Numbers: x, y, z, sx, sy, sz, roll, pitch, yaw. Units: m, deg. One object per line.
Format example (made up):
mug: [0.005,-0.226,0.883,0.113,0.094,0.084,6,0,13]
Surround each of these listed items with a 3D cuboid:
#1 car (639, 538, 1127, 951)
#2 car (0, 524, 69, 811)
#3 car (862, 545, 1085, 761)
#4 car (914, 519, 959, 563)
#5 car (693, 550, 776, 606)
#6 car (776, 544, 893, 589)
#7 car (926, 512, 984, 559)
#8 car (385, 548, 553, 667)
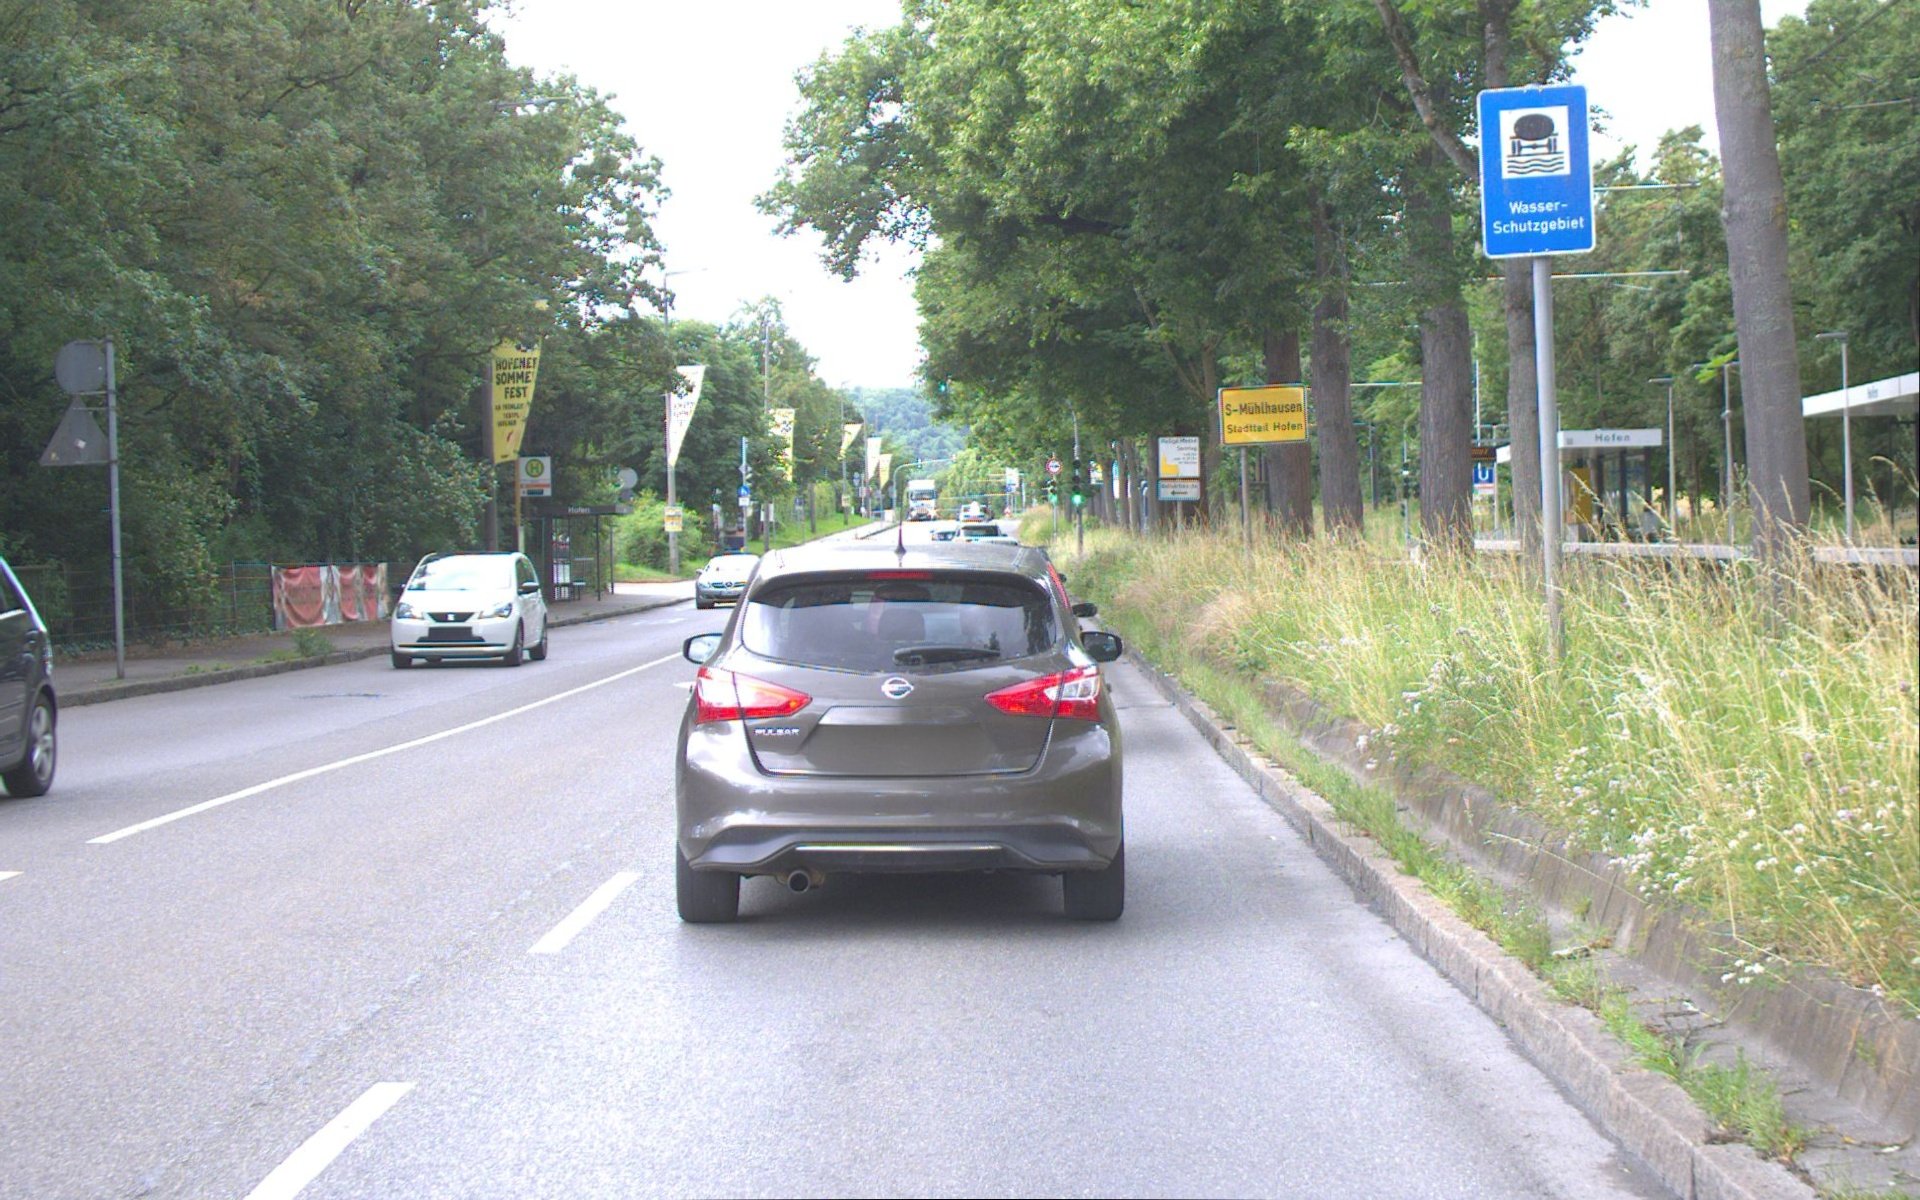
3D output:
car: [-0.255,0.511,14.575,1.783,1.501,3.696,-1,1,1]
car: [-6.219,0.383,18.796,1.720,1.602,4.014,0,1,-1]
car: [0.105,0.330,25.146,1.502,1.436,3.542,-1,1,0]
car: [-1.115,-2.726,160.181,1.993,2.007,4.000,1,0,-2]
car: [-5.577,-0.567,85.387,1.758,1.332,3.696,-1,1,1]
car: [-3.853,-1.032,105.492,1.759,1.332,3.695,-2,1,-37]
car: [-0.159,-2.248,120.866,1.993,1.568,4.000,1,0,0]
car: [-6.349,0.066,44.790,1.580,1.461,3.696,-1,1,1]
